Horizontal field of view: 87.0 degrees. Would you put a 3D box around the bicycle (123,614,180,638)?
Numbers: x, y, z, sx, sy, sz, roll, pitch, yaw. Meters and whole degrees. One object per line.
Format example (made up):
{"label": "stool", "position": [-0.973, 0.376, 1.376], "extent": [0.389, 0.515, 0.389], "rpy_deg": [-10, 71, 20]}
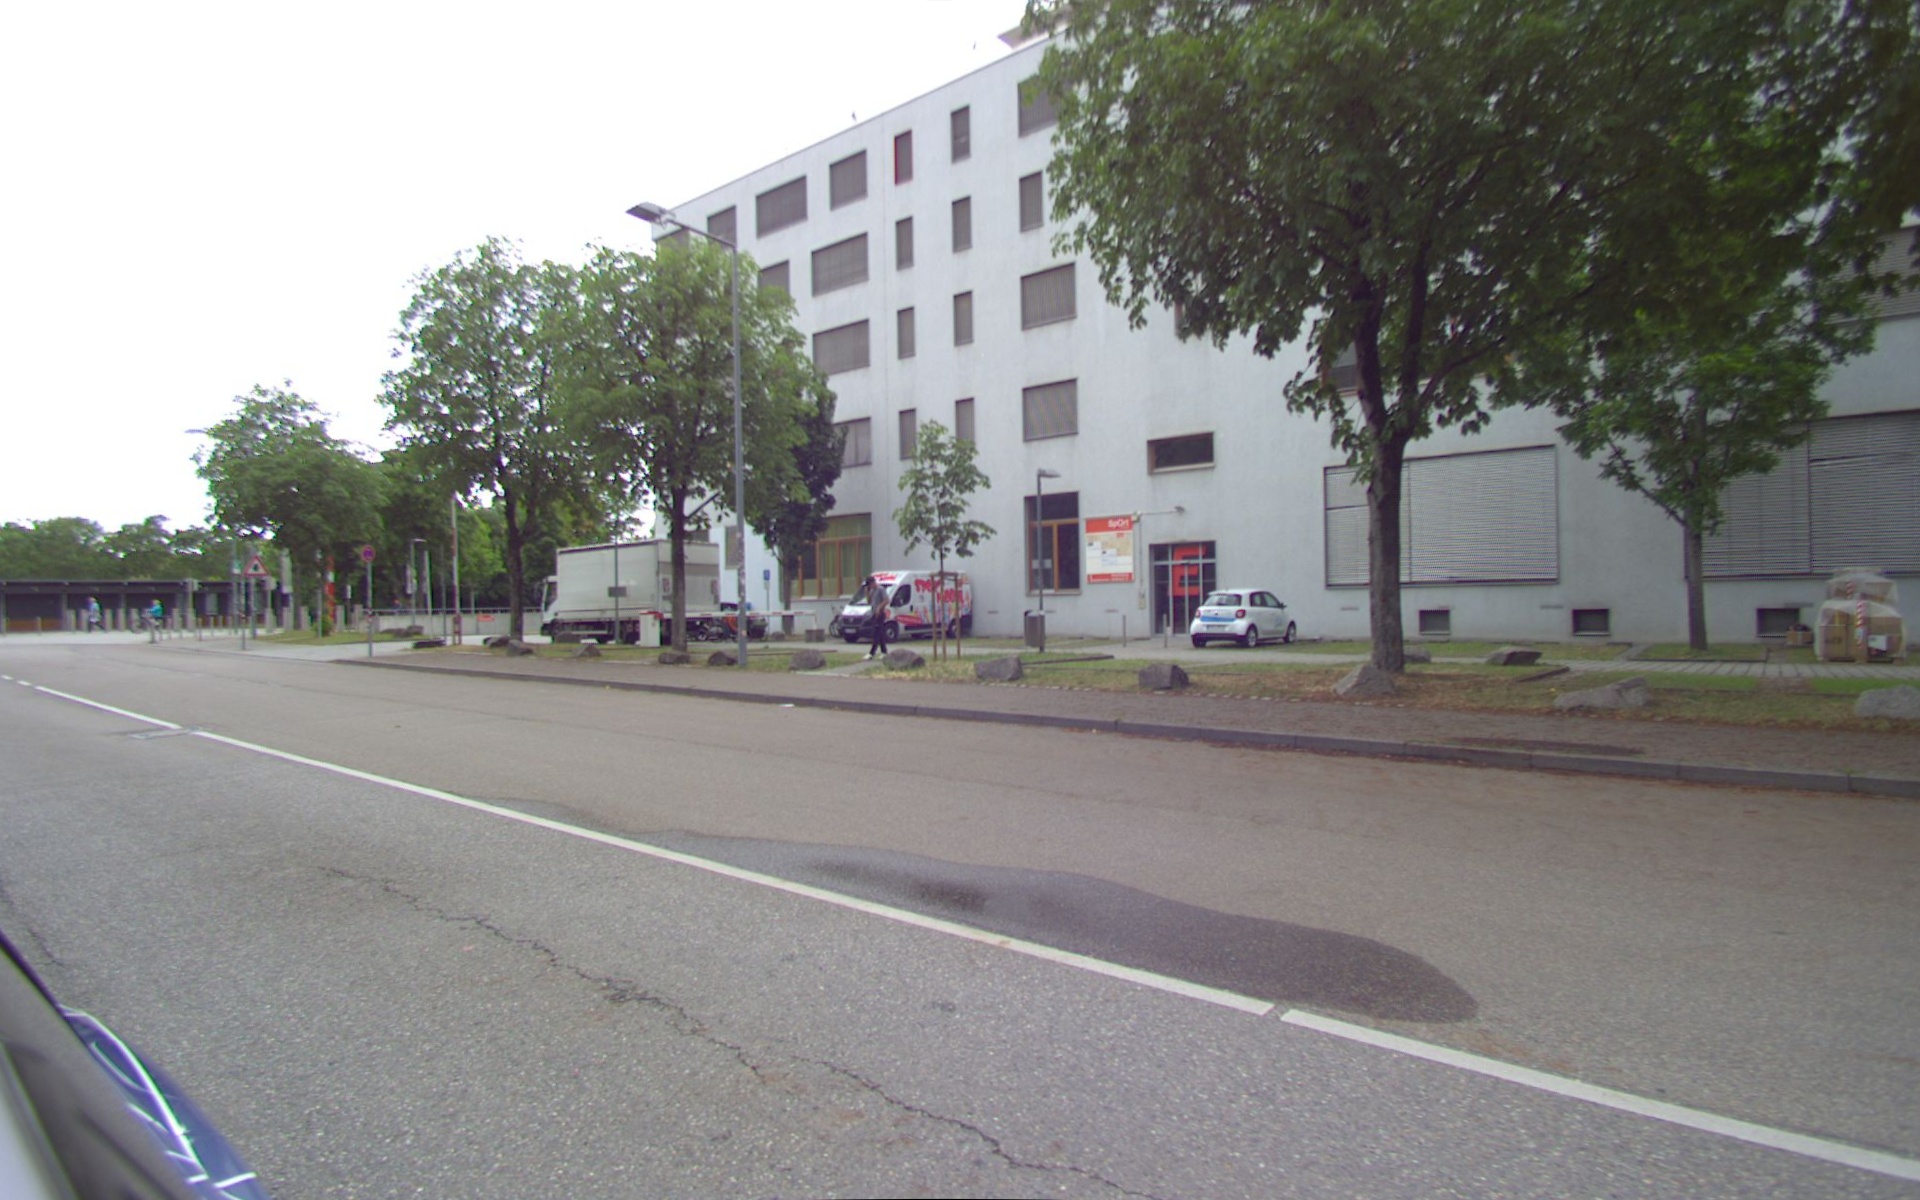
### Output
{"label": "bicycle", "position": [-42.697, 1.363, 53.464], "extent": [0.747, 1.131, 2.230], "rpy_deg": [0, 1, 37]}

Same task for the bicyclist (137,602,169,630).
{"label": "bicyclist", "position": [-42.662, 0.847, 53.507], "extent": [0.742, 1.441, 1.145], "rpy_deg": [0, 1, 37]}

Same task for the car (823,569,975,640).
{"label": "car", "position": [-2.018, 0.077, 35.535], "extent": [2.077, 2.296, 5.569], "rpy_deg": [0, 1, 40]}

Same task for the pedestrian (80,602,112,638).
{"label": "pedestrian", "position": [-46.024, 1.048, 53.926], "extent": [1.182, 1.847, 0.930], "rpy_deg": [-1, 2, -36]}

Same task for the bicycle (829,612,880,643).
{"label": "bicycle", "position": [-3.972, 1.015, 38.270], "extent": [0.614, 1.078, 2.003], "rpy_deg": [0, 1, 43]}

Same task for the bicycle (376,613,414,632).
{"label": "bicycle", "position": [-36.809, 1.434, 65.922], "extent": [0.775, 1.152, 2.030], "rpy_deg": [1, 2, 30]}

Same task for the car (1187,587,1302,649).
{"label": "car", "position": [7.735, 0.443, 27.349], "extent": [1.691, 1.511, 3.576], "rpy_deg": [0, 1, 40]}

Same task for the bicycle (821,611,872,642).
{"label": "bicycle", "position": [-4.350, 1.010, 38.828], "extent": [0.614, 1.078, 2.003], "rpy_deg": [0, 1, 43]}

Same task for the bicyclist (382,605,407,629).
{"label": "bicyclist", "position": [-36.815, 1.128, 65.914], "extent": [0.924, 1.507, 1.090], "rpy_deg": [1, 2, 31]}

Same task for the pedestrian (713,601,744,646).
{"label": "pedestrian", "position": [-8.455, 0.851, 37.009], "extent": [0.885, 1.618, 0.672], "rpy_deg": [0, 1, 34]}

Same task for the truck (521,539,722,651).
{"label": "truck", "position": [-12.273, -0.185, 36.266], "extent": [8.354, 3.627, 2.651], "rpy_deg": [0, 1, 38]}

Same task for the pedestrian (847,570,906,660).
{"label": "pedestrian", "position": [-1.621, 0.275, 19.691], "extent": [0.785, 1.684, 0.836], "rpy_deg": [0, 1, 35]}
